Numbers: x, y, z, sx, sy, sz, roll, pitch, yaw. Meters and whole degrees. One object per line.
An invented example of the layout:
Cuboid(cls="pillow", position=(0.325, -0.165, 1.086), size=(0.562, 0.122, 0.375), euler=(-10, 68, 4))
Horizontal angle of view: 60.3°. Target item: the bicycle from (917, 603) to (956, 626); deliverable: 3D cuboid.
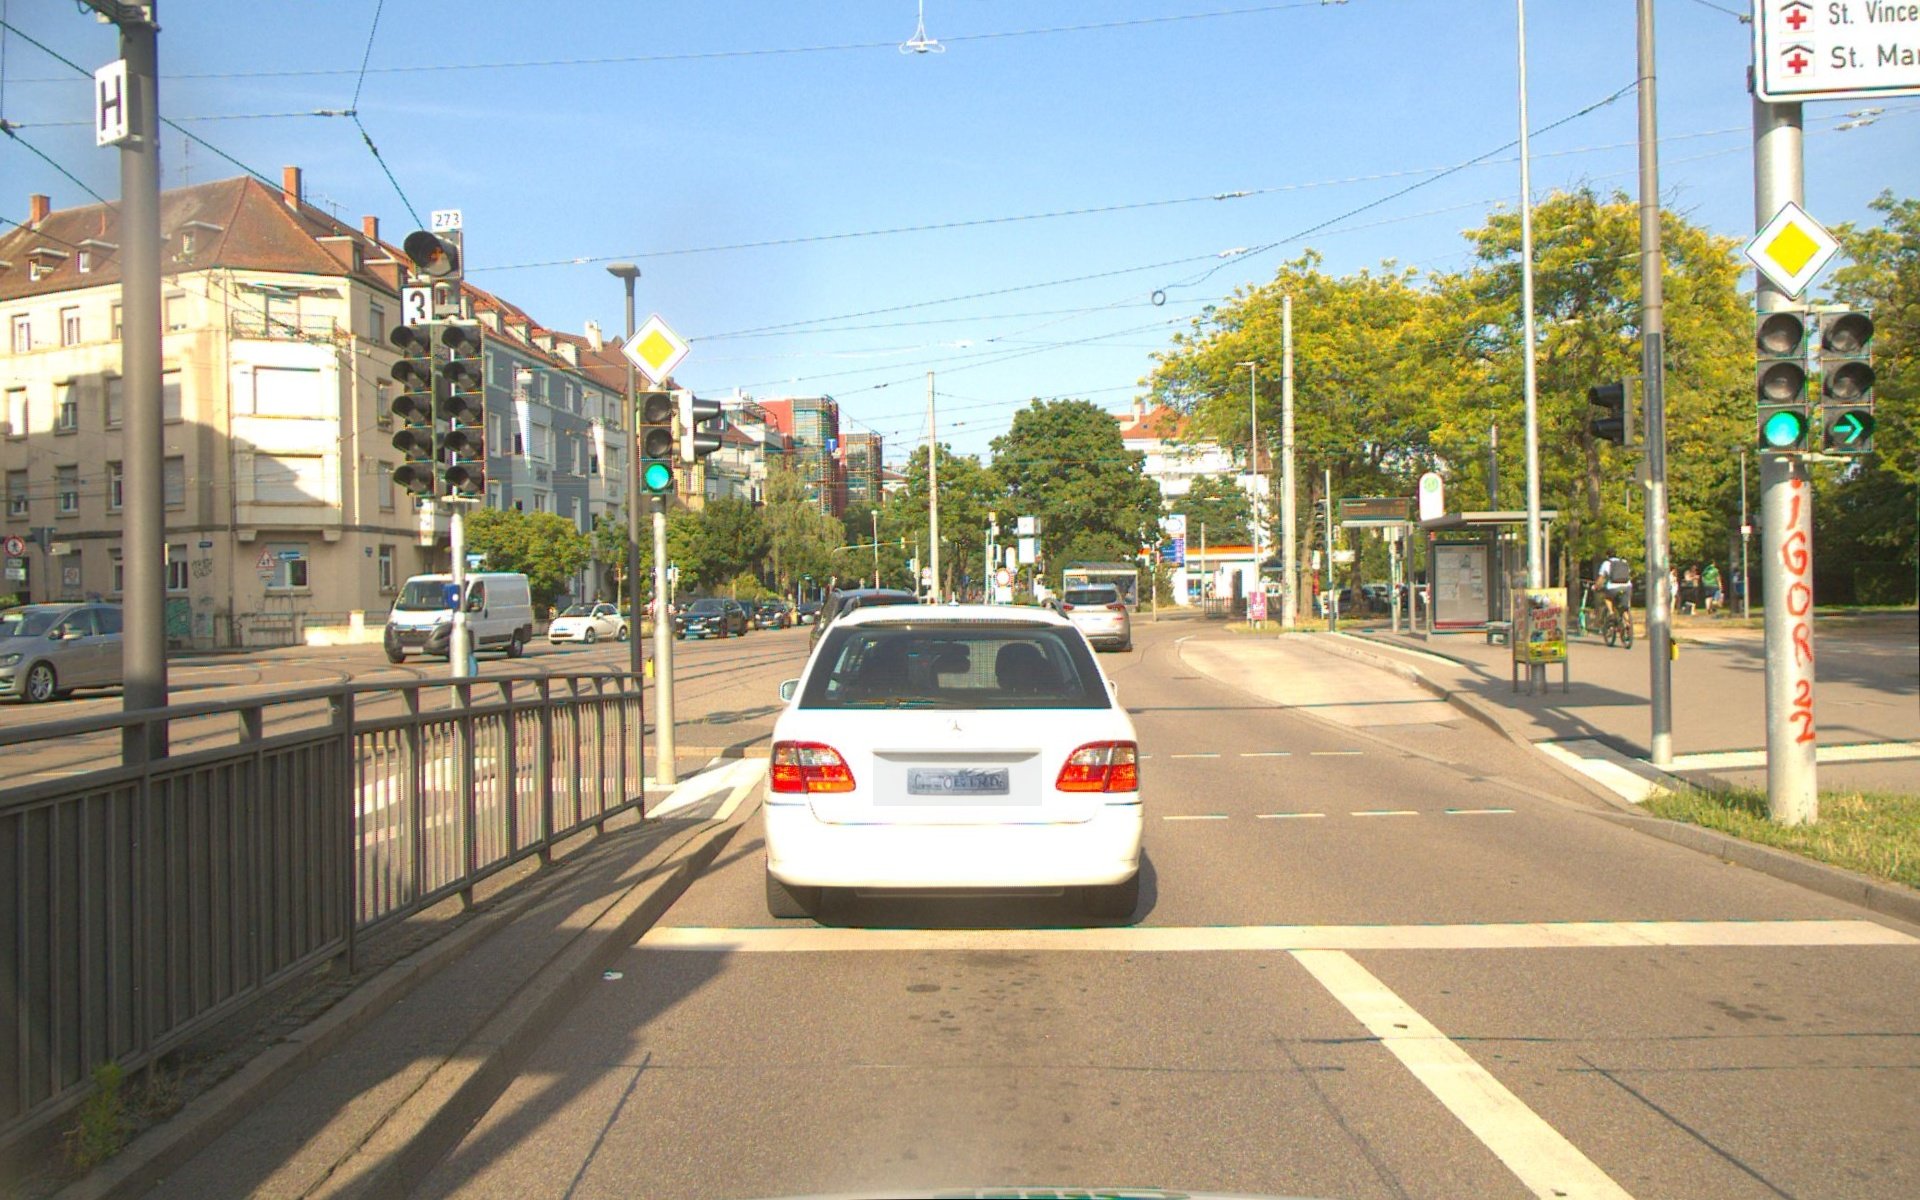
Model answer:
Cuboid(cls="bicycle", position=(-1.146, 0.697, 80.607), size=(1.875, 1.011, 0.726), euler=(-3, 0, -1))

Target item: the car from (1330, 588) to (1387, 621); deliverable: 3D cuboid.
Cuboid(cls="car", position=(20.489, 0.196, 84.953), size=(1.818, 1.542, 3.994), euler=(-3, 0, 29))

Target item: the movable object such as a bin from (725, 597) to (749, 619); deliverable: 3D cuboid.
Cuboid(cls="movable object such as a bin", position=(-15.193, 0.560, 112.631), size=(1.573, 1.446, 1.082), euler=(-1, 0, -8))

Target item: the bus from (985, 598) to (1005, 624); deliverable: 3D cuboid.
Cuboid(cls="bus", position=(3.214, 1.007, 152.131), size=(1.761, 2.374, 4.000), euler=(1, -1, 0))

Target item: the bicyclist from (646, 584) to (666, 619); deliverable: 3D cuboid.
Cuboid(cls="bicyclist", position=(-15.067, 0.085, 81.965), size=(0.744, 1.697, 1.167), euler=(-1, 0, 0))

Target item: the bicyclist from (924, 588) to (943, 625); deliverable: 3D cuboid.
Cuboid(cls="bicyclist", position=(-1.292, 0.307, 80.613), size=(0.881, 1.728, 0.732), euler=(-3, 0, 0))

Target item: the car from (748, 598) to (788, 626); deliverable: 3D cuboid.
Cuboid(cls="car", position=(-10.631, 0.631, 91.690), size=(1.600, 1.458, 3.630), euler=(-1, 0, 3))

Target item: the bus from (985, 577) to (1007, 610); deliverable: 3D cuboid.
Cuboid(cls="bus", position=(2.985, -0.489, 136.372), size=(1.760, 2.600, 4.000), euler=(1, -1, 1))

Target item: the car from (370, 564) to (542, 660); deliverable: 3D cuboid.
Cuboid(cls="car", position=(-12.941, 0.272, 42.877), size=(2.130, 2.278, 5.258), euler=(-1, 0, 9))

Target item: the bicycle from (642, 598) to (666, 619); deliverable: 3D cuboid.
Cuboid(cls="bicycle", position=(-15.077, 0.403, 81.498), size=(0.753, 0.982, 2.034), euler=(-1, 0, 0))

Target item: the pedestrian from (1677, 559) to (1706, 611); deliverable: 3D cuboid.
Cuboid(cls="pedestrian", position=(24.146, -0.498, 54.602), size=(0.628, 1.694, 0.690), euler=(-1, 0, -1))

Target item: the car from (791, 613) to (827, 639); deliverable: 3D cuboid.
Cuboid(cls="car", position=(-9.367, 1.607, 102.744), size=(1.654, 1.466, 4.002), euler=(-1, 0, 3))

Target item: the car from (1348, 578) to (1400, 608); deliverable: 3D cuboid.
Cuboid(cls="car", position=(22.583, -0.384, 90.199), size=(1.818, 1.542, 3.995), euler=(-3, 0, 28))

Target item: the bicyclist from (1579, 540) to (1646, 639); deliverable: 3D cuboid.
Cuboid(cls="bicyclist", position=(12.101, -0.188, 30.689), size=(0.636, 1.776, 1.140), euler=(-4, 0, -2))

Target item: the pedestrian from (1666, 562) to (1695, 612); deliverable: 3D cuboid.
Cuboid(cls="pedestrian", position=(24.082, -0.439, 55.301), size=(0.628, 1.638, 0.690), euler=(-1, 0, -1))

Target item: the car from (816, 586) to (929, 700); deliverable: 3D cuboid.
Cuboid(cls="car", position=(-1.285, 0.614, 25.566), size=(1.608, 1.628, 3.814), euler=(0, 0, -1))

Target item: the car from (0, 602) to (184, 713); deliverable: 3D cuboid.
Cuboid(cls="car", position=(-14.688, 0.880, 27.033), size=(1.641, 1.552, 4.128), euler=(-1, 1, 7))

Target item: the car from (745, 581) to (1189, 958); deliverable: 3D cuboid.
Cuboid(cls="car", position=(0.000, 0.691, 8.634), size=(1.798, 1.527, 3.814), euler=(0, 0, -1))

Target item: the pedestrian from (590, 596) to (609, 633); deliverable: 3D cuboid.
Cuboid(cls="pedestrian", position=(-17.308, 0.684, 79.398), size=(0.625, 1.781, 0.912), euler=(-1, 0, 2))

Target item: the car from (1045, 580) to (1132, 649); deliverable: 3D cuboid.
Cuboid(cls="car", position=(3.139, 0.343, 40.981), size=(1.798, 1.628, 3.814), euler=(0, 0, -1))

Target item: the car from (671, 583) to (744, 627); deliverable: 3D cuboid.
Cuboid(cls="car", position=(-9.731, 0.168, 64.049), size=(1.729, 1.520, 4.747), euler=(-1, 1, 5))

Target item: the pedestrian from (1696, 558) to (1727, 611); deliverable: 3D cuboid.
Cuboid(cls="pedestrian", position=(24.460, -0.505, 53.836), size=(0.628, 1.694, 0.690), euler=(-1, 0, -1))

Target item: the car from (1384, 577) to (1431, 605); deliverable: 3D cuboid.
Cuboid(cls="car", position=(26.728, -0.545, 98.669), size=(1.818, 1.542, 3.995), euler=(-3, 0, 28))

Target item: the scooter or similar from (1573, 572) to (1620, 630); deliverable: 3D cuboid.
Cuboid(cls="scooter or similar", position=(14.000, 0.018, 36.372), size=(0.345, 1.253, 1.131), euler=(-1, 0, -15))

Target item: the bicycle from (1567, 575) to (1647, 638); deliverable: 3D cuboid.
Cuboid(cls="bicycle", position=(12.108, 0.129, 31.022), size=(0.627, 1.107, 1.939), euler=(-3, 0, -2))

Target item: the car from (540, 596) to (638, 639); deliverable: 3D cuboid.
Cuboid(cls="car", position=(-13.839, 0.618, 61.923), size=(1.756, 1.482, 4.002), euler=(-1, 0, 18))
